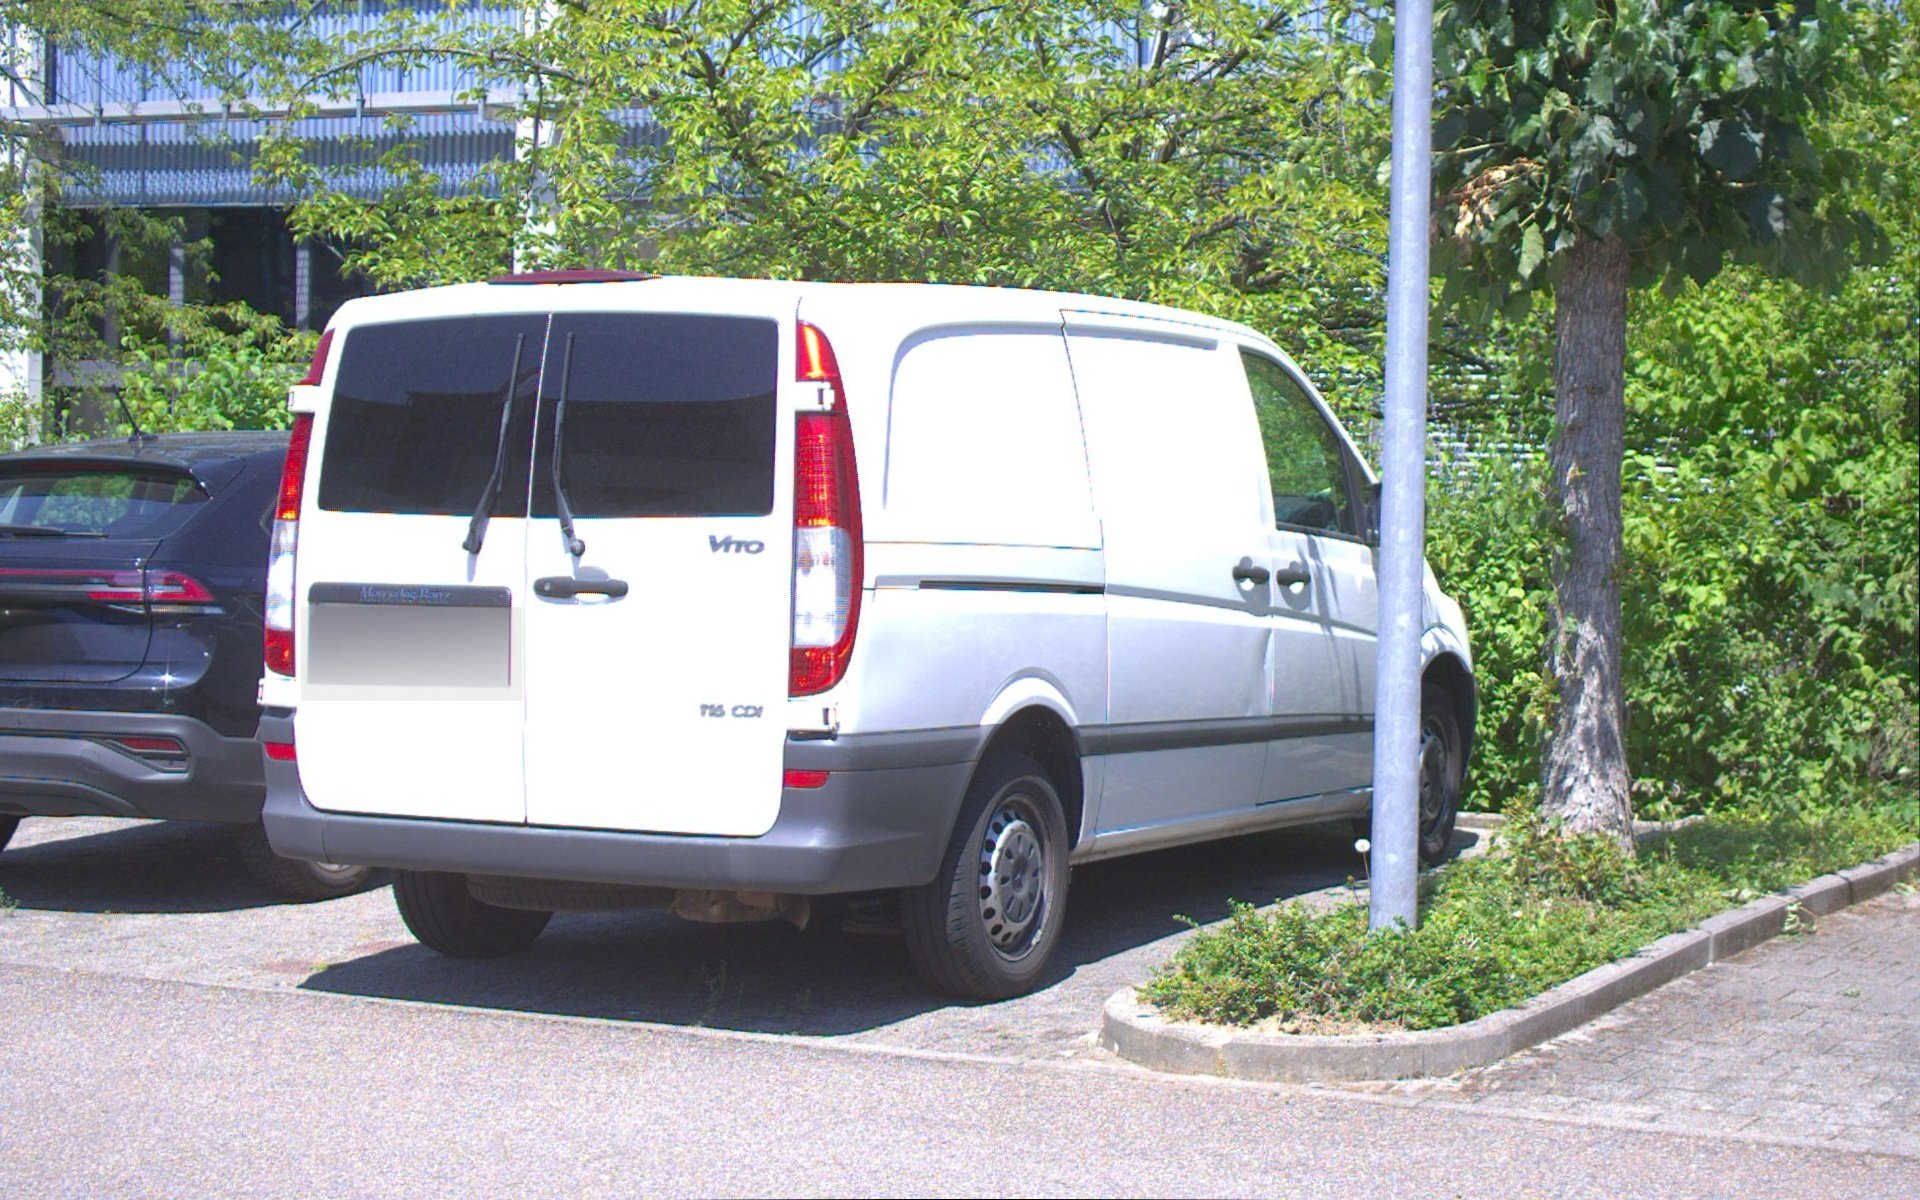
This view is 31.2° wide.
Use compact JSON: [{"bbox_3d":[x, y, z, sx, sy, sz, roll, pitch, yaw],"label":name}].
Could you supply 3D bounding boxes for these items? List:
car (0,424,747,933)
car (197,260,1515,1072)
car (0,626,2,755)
[{"bbox_3d":[-2.374,0.130,12.307,1.756,1.471,3.997,0,3,20],"label":"car"},{"bbox_3d":[0.009,0.021,10.582,1.916,1.898,4.801,1,3,28],"label":"car"},{"bbox_3d":[-6.385,-0.140,14.000,1.885,1.884,4.796,2,4,31],"label":"car"}]
